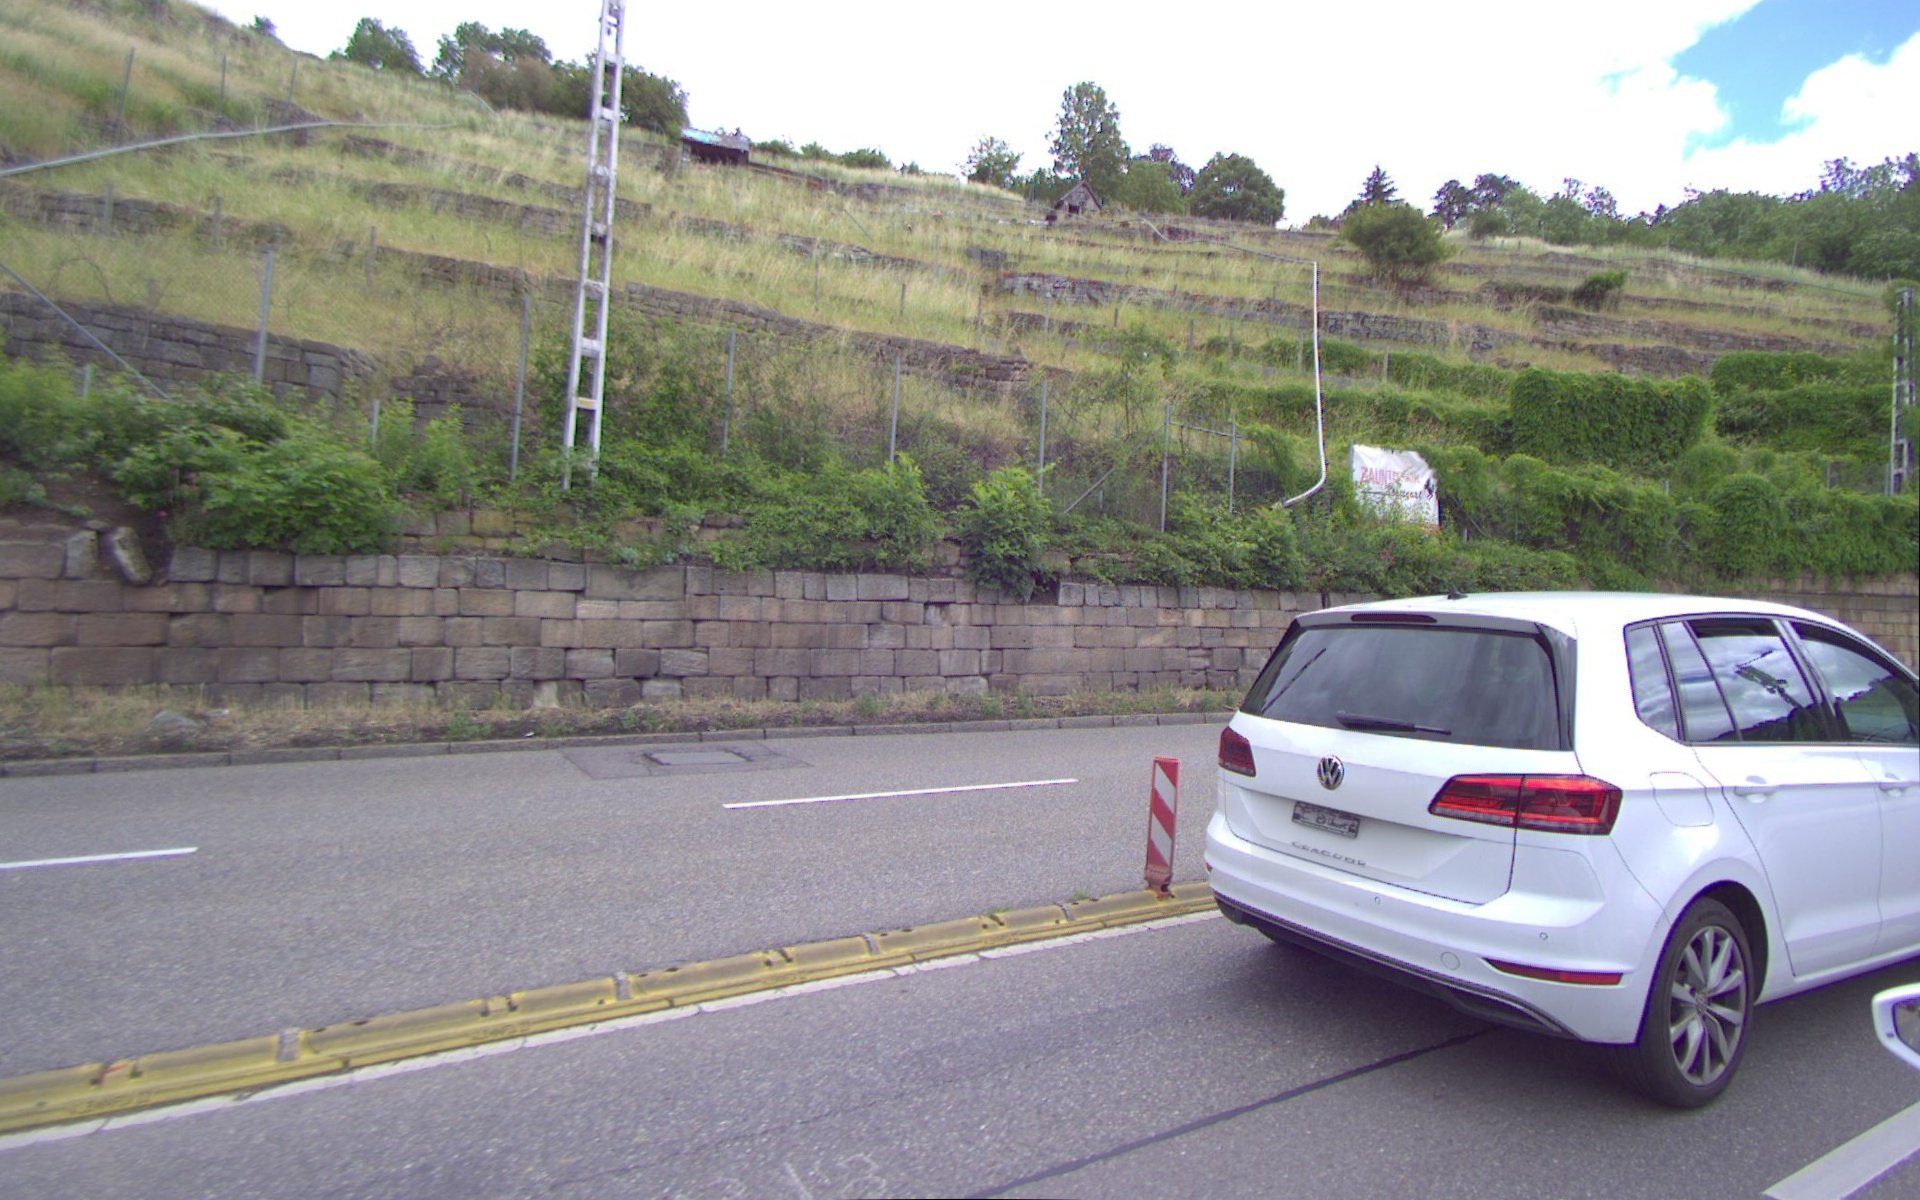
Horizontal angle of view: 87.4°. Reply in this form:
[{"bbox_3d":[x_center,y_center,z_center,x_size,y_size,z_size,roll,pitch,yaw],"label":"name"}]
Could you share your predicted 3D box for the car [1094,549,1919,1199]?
[{"bbox_3d":[2.858,0.725,4.306,4.304,1.601,1.813,2,0,-30],"label":"car"}]
